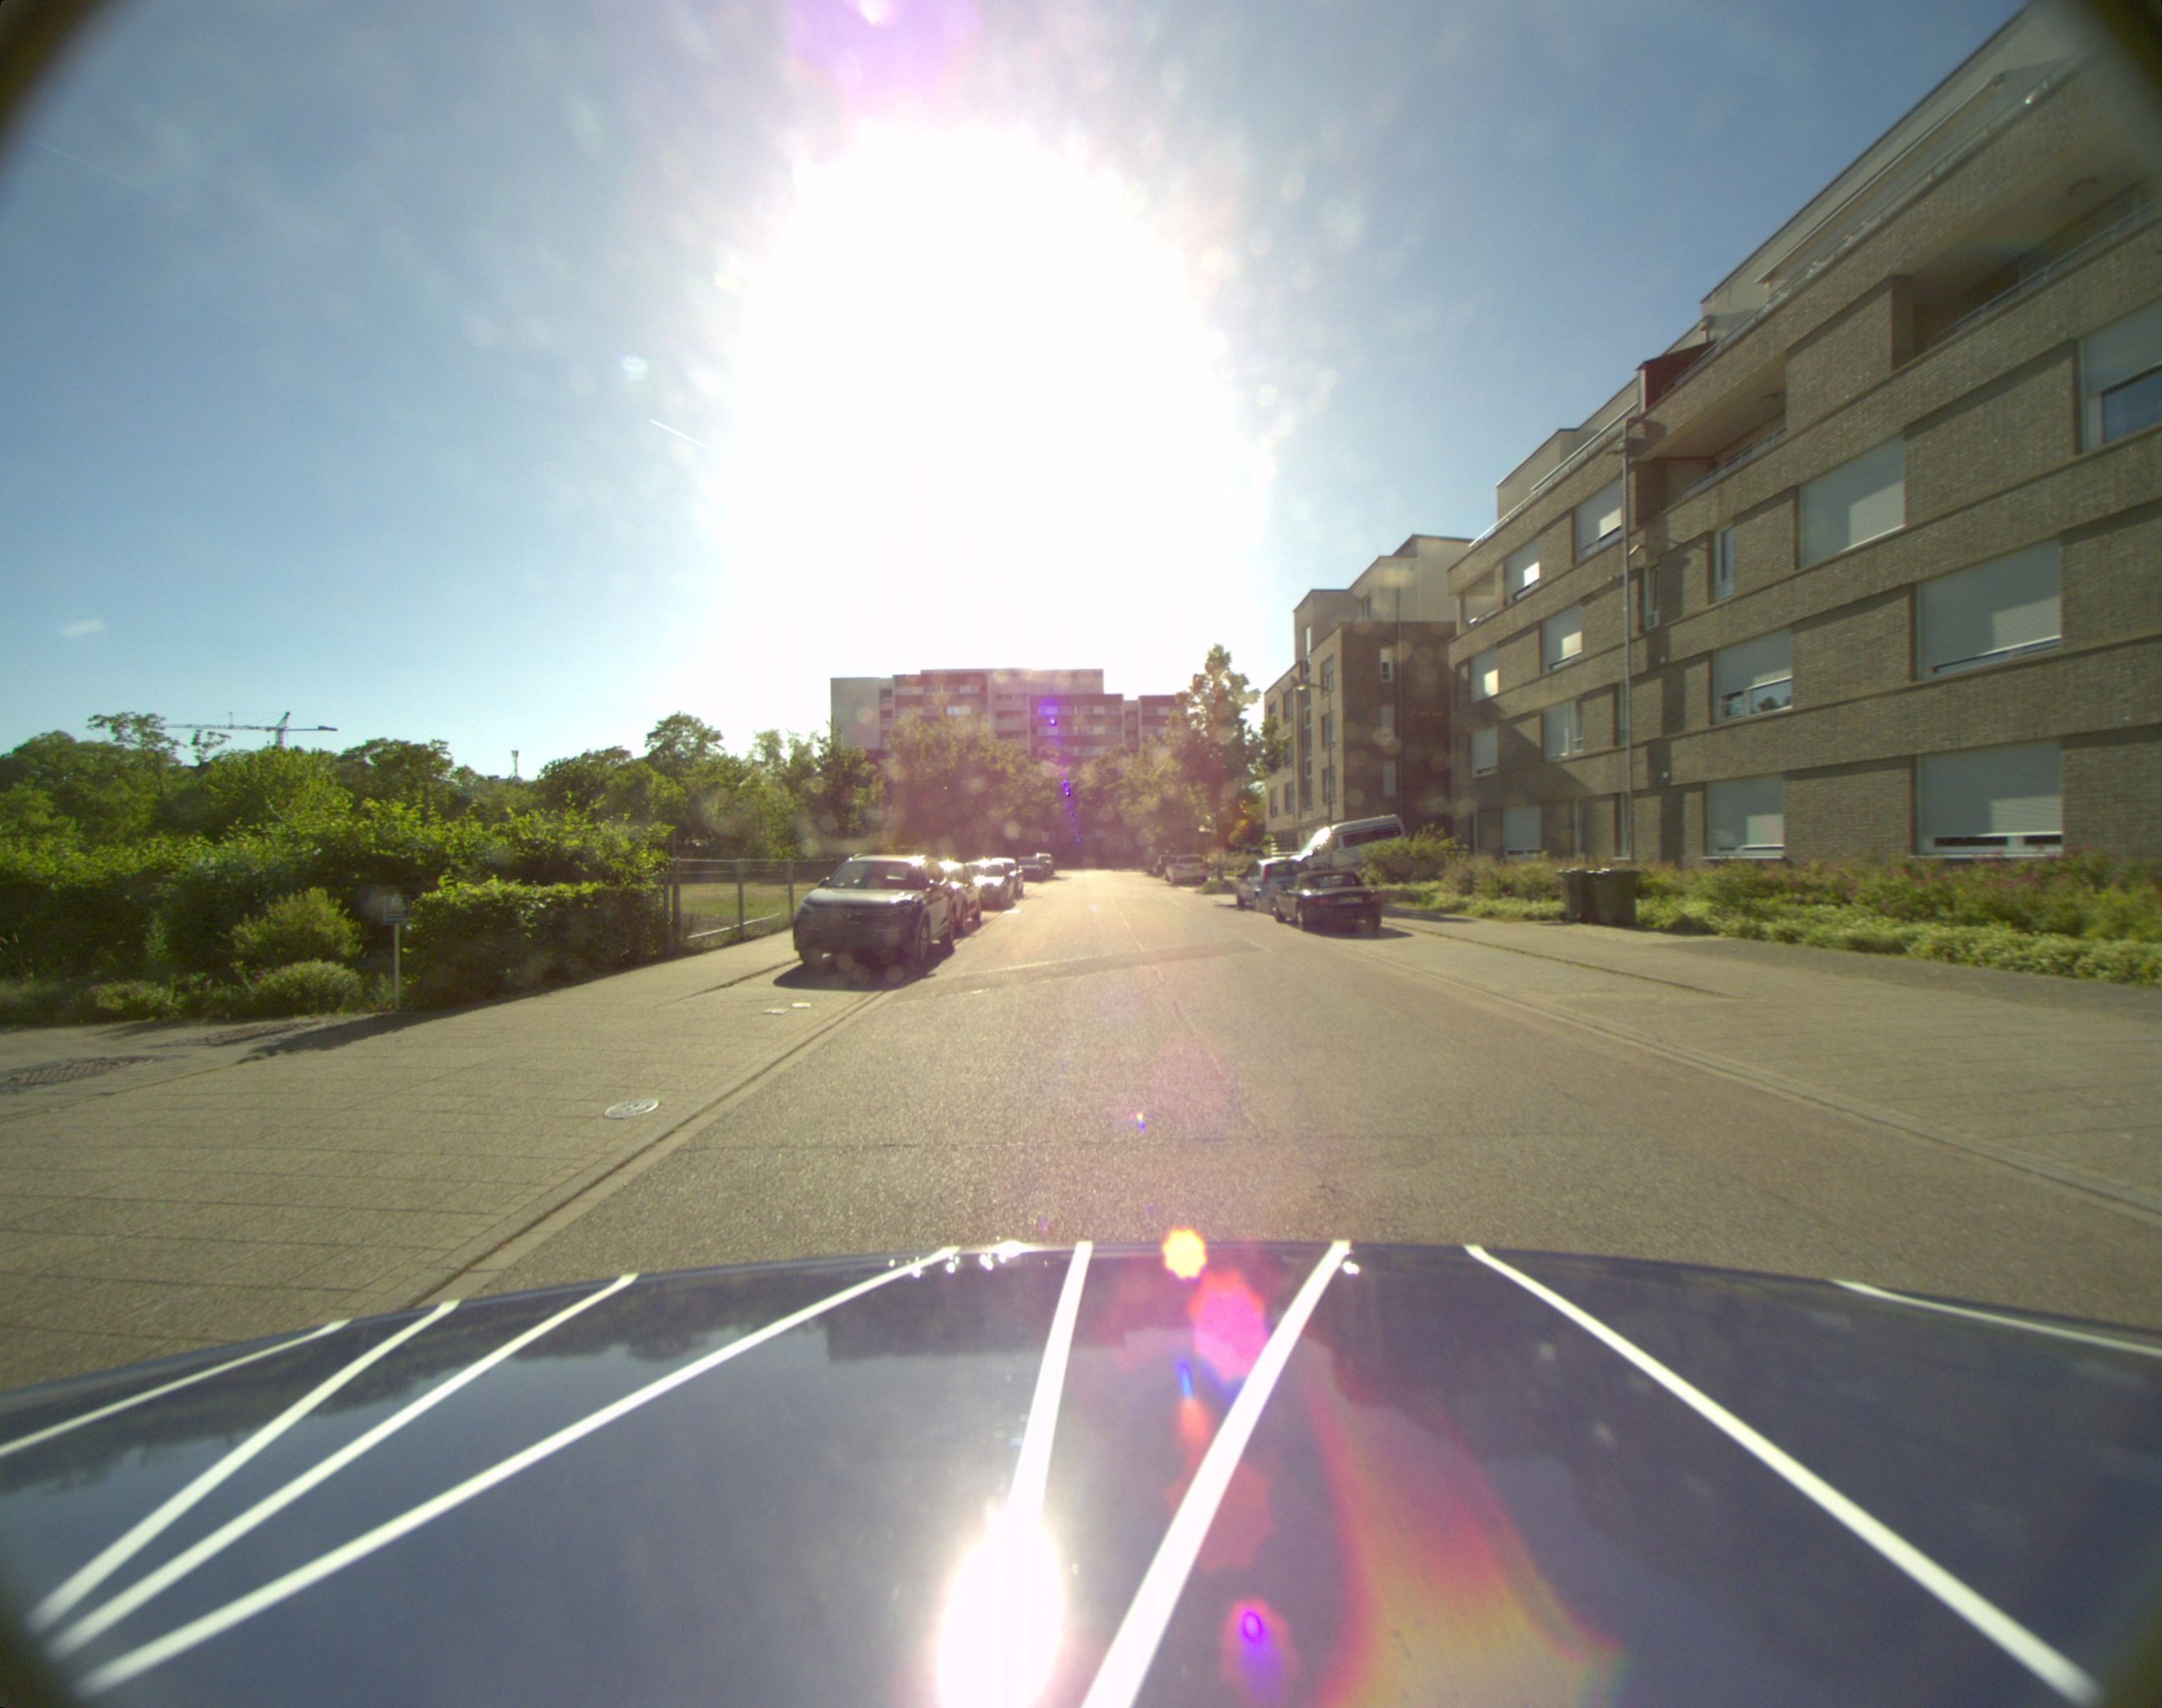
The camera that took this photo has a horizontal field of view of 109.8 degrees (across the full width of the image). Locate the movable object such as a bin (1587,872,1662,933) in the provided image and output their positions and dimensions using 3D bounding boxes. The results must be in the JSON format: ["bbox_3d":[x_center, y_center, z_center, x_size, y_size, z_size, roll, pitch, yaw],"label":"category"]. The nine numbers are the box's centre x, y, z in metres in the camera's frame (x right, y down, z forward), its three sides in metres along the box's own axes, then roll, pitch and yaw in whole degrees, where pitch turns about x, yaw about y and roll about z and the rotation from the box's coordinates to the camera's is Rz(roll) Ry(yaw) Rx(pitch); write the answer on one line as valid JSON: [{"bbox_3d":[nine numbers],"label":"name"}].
[{"bbox_3d":[10.011,0.879,14.017,0.862,1.031,0.677,-4,0,-2],"label":"movable object such as a bin"}]

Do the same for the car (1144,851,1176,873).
[{"bbox_3d":[5.801,0.547,55.993,1.795,1.509,3.889,-2,0,-2],"label":"car"}]

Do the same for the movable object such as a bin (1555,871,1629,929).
[{"bbox_3d":[9.905,0.883,14.748,0.921,1.031,0.681,-4,0,-2],"label":"movable object such as a bin"}]

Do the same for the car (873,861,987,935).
[{"bbox_3d":[-3.375,0.930,17.734,1.823,1.458,3.842,3,0,0],"label":"car"}]

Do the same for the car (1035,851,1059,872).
[{"bbox_3d":[-2.576,0.542,58.332,1.645,1.458,3.703,3,1,0],"label":"car"}]

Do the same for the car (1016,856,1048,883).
[{"bbox_3d":[-2.938,0.912,46.333,1.645,1.458,3.703,3,1,0],"label":"car"}]

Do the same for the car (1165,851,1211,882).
[{"bbox_3d":[5.839,0.685,41.928,1.795,1.590,3.889,-2,0,-2],"label":"car"}]

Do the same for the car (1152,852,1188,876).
[{"bbox_3d":[5.869,0.651,50.669,1.795,1.509,3.889,-2,0,-2],"label":"car"}]

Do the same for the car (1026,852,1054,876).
[{"bbox_3d":[-2.779,0.660,51.900,1.645,1.458,3.703,3,1,0],"label":"car"}]

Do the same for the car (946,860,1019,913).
[{"bbox_3d":[-3.154,1.006,25.044,1.823,1.458,3.841,3,1,0],"label":"car"}]

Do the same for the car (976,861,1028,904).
[{"bbox_3d":[-3.102,1.114,30.590,1.645,1.458,3.703,3,1,0],"label":"car"}]

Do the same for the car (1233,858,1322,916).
[{"bbox_3d":[5.602,0.879,22.048,1.631,1.515,3.562,-1,0,0],"label":"car"}]

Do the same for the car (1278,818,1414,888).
[{"bbox_3d":[11.409,-0.049,32.894,5.153,2.885,2.014,-1,0,-3],"label":"car"}]

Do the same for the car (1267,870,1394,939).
[{"bbox_3d":[5.348,1.025,16.738,1.631,1.240,3.563,-2,0,1],"label":"car"}]

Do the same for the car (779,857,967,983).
[{"bbox_3d":[-3.186,0.914,12.640,1.823,1.638,4.488,3,0,0],"label":"car"}]
